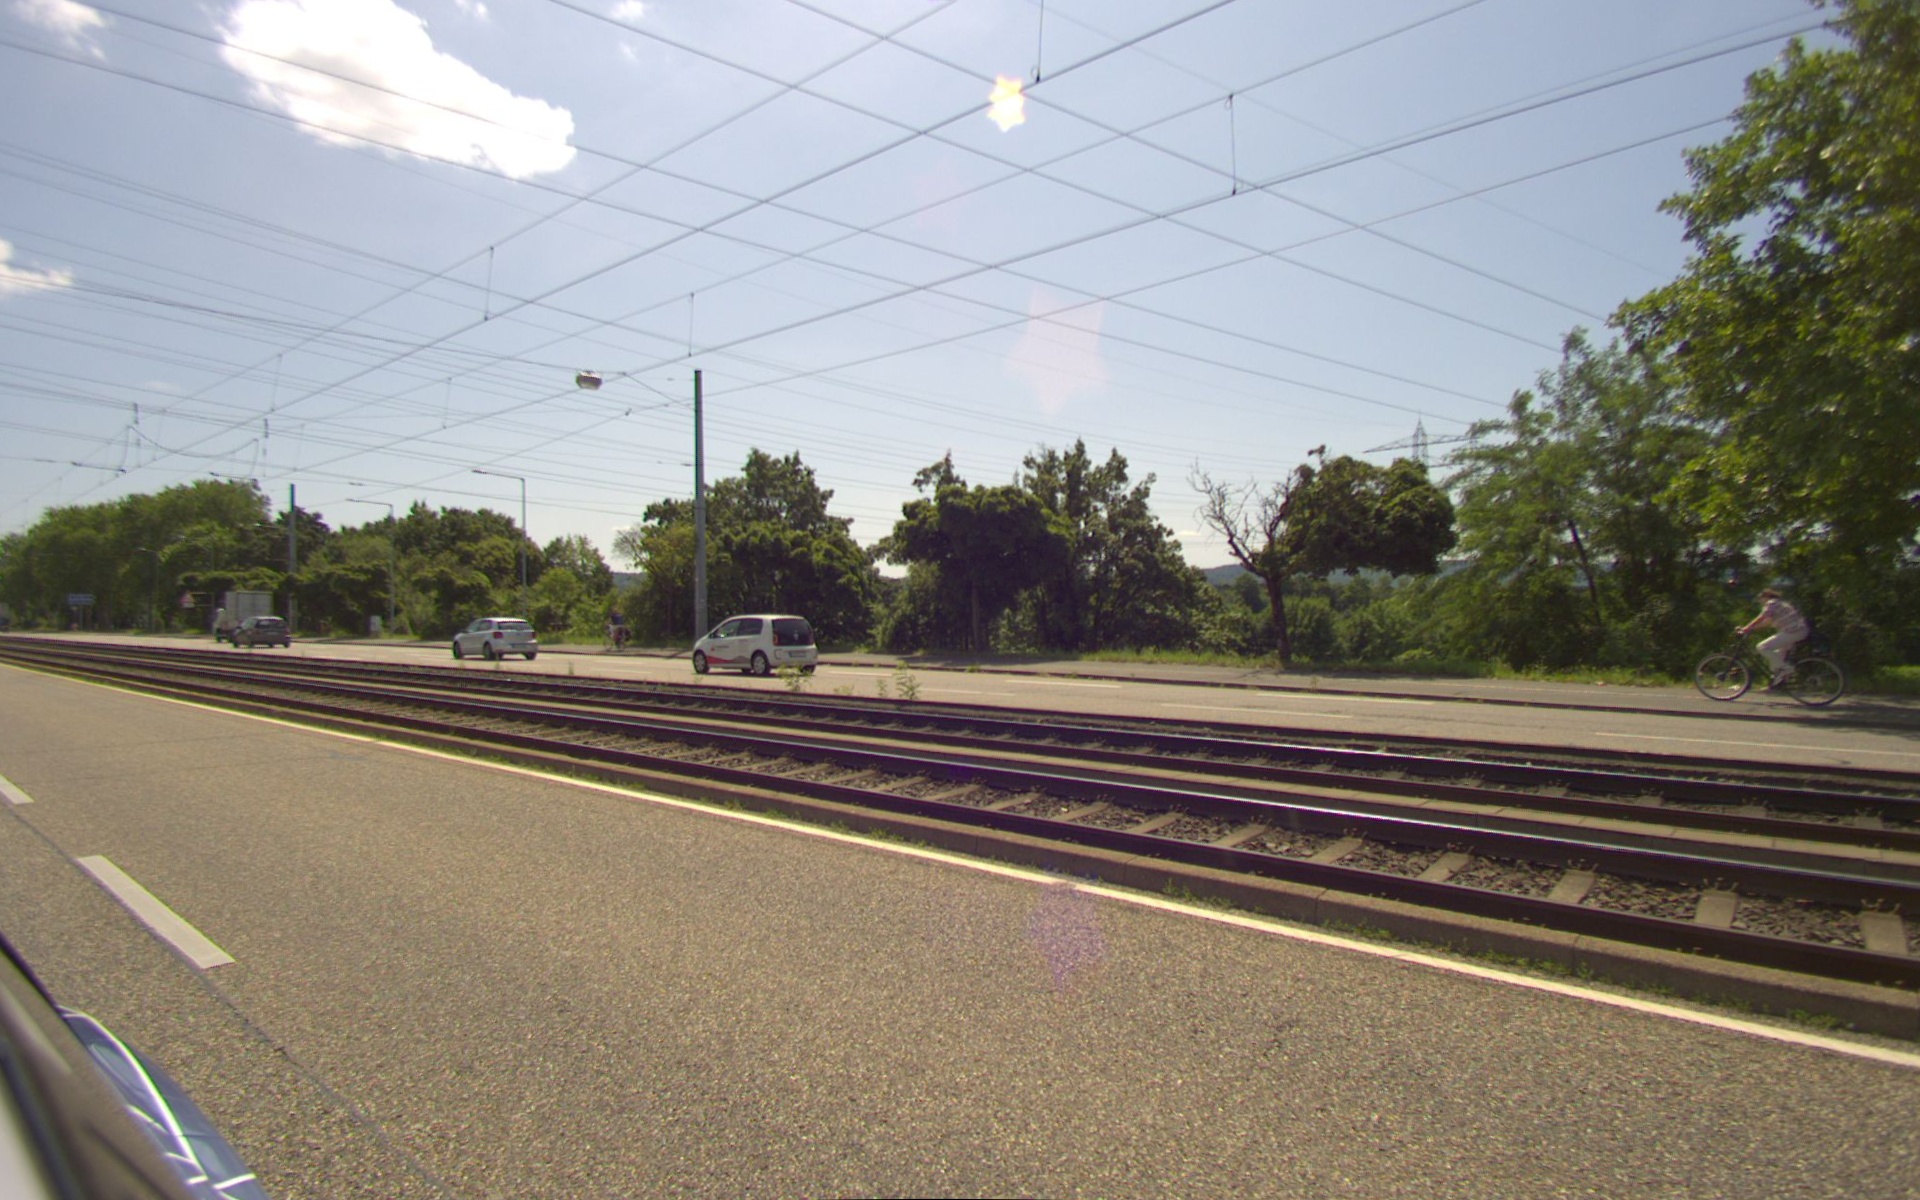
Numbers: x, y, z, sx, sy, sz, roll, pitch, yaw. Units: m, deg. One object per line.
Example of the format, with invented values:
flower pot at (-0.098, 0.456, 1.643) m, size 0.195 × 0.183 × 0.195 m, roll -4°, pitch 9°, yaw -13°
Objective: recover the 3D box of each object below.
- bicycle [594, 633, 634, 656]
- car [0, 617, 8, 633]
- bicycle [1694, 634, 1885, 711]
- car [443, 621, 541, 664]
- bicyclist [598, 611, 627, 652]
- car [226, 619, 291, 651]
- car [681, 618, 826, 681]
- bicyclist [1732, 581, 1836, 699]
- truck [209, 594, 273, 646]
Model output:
bicycle at (-14.074, 1.780, 41.100) m, size 0.643 × 0.866 × 2.121 m, roll -2°, pitch 0°, yaw -45°
car at (-122.641, 3.197, 128.696) m, size 5.005 × 1.942 × 1.838 m, roll -1°, pitch -3°, yaw 41°
bicycle at (11.963, 1.015, 14.655) m, size 0.615 × 0.987 × 2.057 m, roll -2°, pitch 1°, yaw -43°
car at (-16.486, 1.471, 35.558) m, size 4.126 × 1.432 × 1.619 m, roll -2°, pitch -2°, yaw 42°
bicyclist at (-14.122, 1.267, 41.131) m, size 1.156 × 1.632 × 0.643 m, roll -2°, pitch 0°, yaw 45°
car at (-35.615, 1.762, 51.349) m, size 3.954 × 1.547 × 1.734 m, roll -1°, pitch -2°, yaw 40°
car at (-5.186, 1.192, 25.215) m, size 3.719 × 1.447 × 1.620 m, roll -1°, pitch -3°, yaw 40°
bicyclist at (11.931, 0.565, 14.665) m, size 0.615 × 1.629 × 1.063 m, roll -2°, pitch 1°, yaw -43°
truck at (-47.265, 1.315, 66.473) m, size 6.041 × 3.261 × 2.225 m, roll -2°, pitch -2°, yaw 43°
